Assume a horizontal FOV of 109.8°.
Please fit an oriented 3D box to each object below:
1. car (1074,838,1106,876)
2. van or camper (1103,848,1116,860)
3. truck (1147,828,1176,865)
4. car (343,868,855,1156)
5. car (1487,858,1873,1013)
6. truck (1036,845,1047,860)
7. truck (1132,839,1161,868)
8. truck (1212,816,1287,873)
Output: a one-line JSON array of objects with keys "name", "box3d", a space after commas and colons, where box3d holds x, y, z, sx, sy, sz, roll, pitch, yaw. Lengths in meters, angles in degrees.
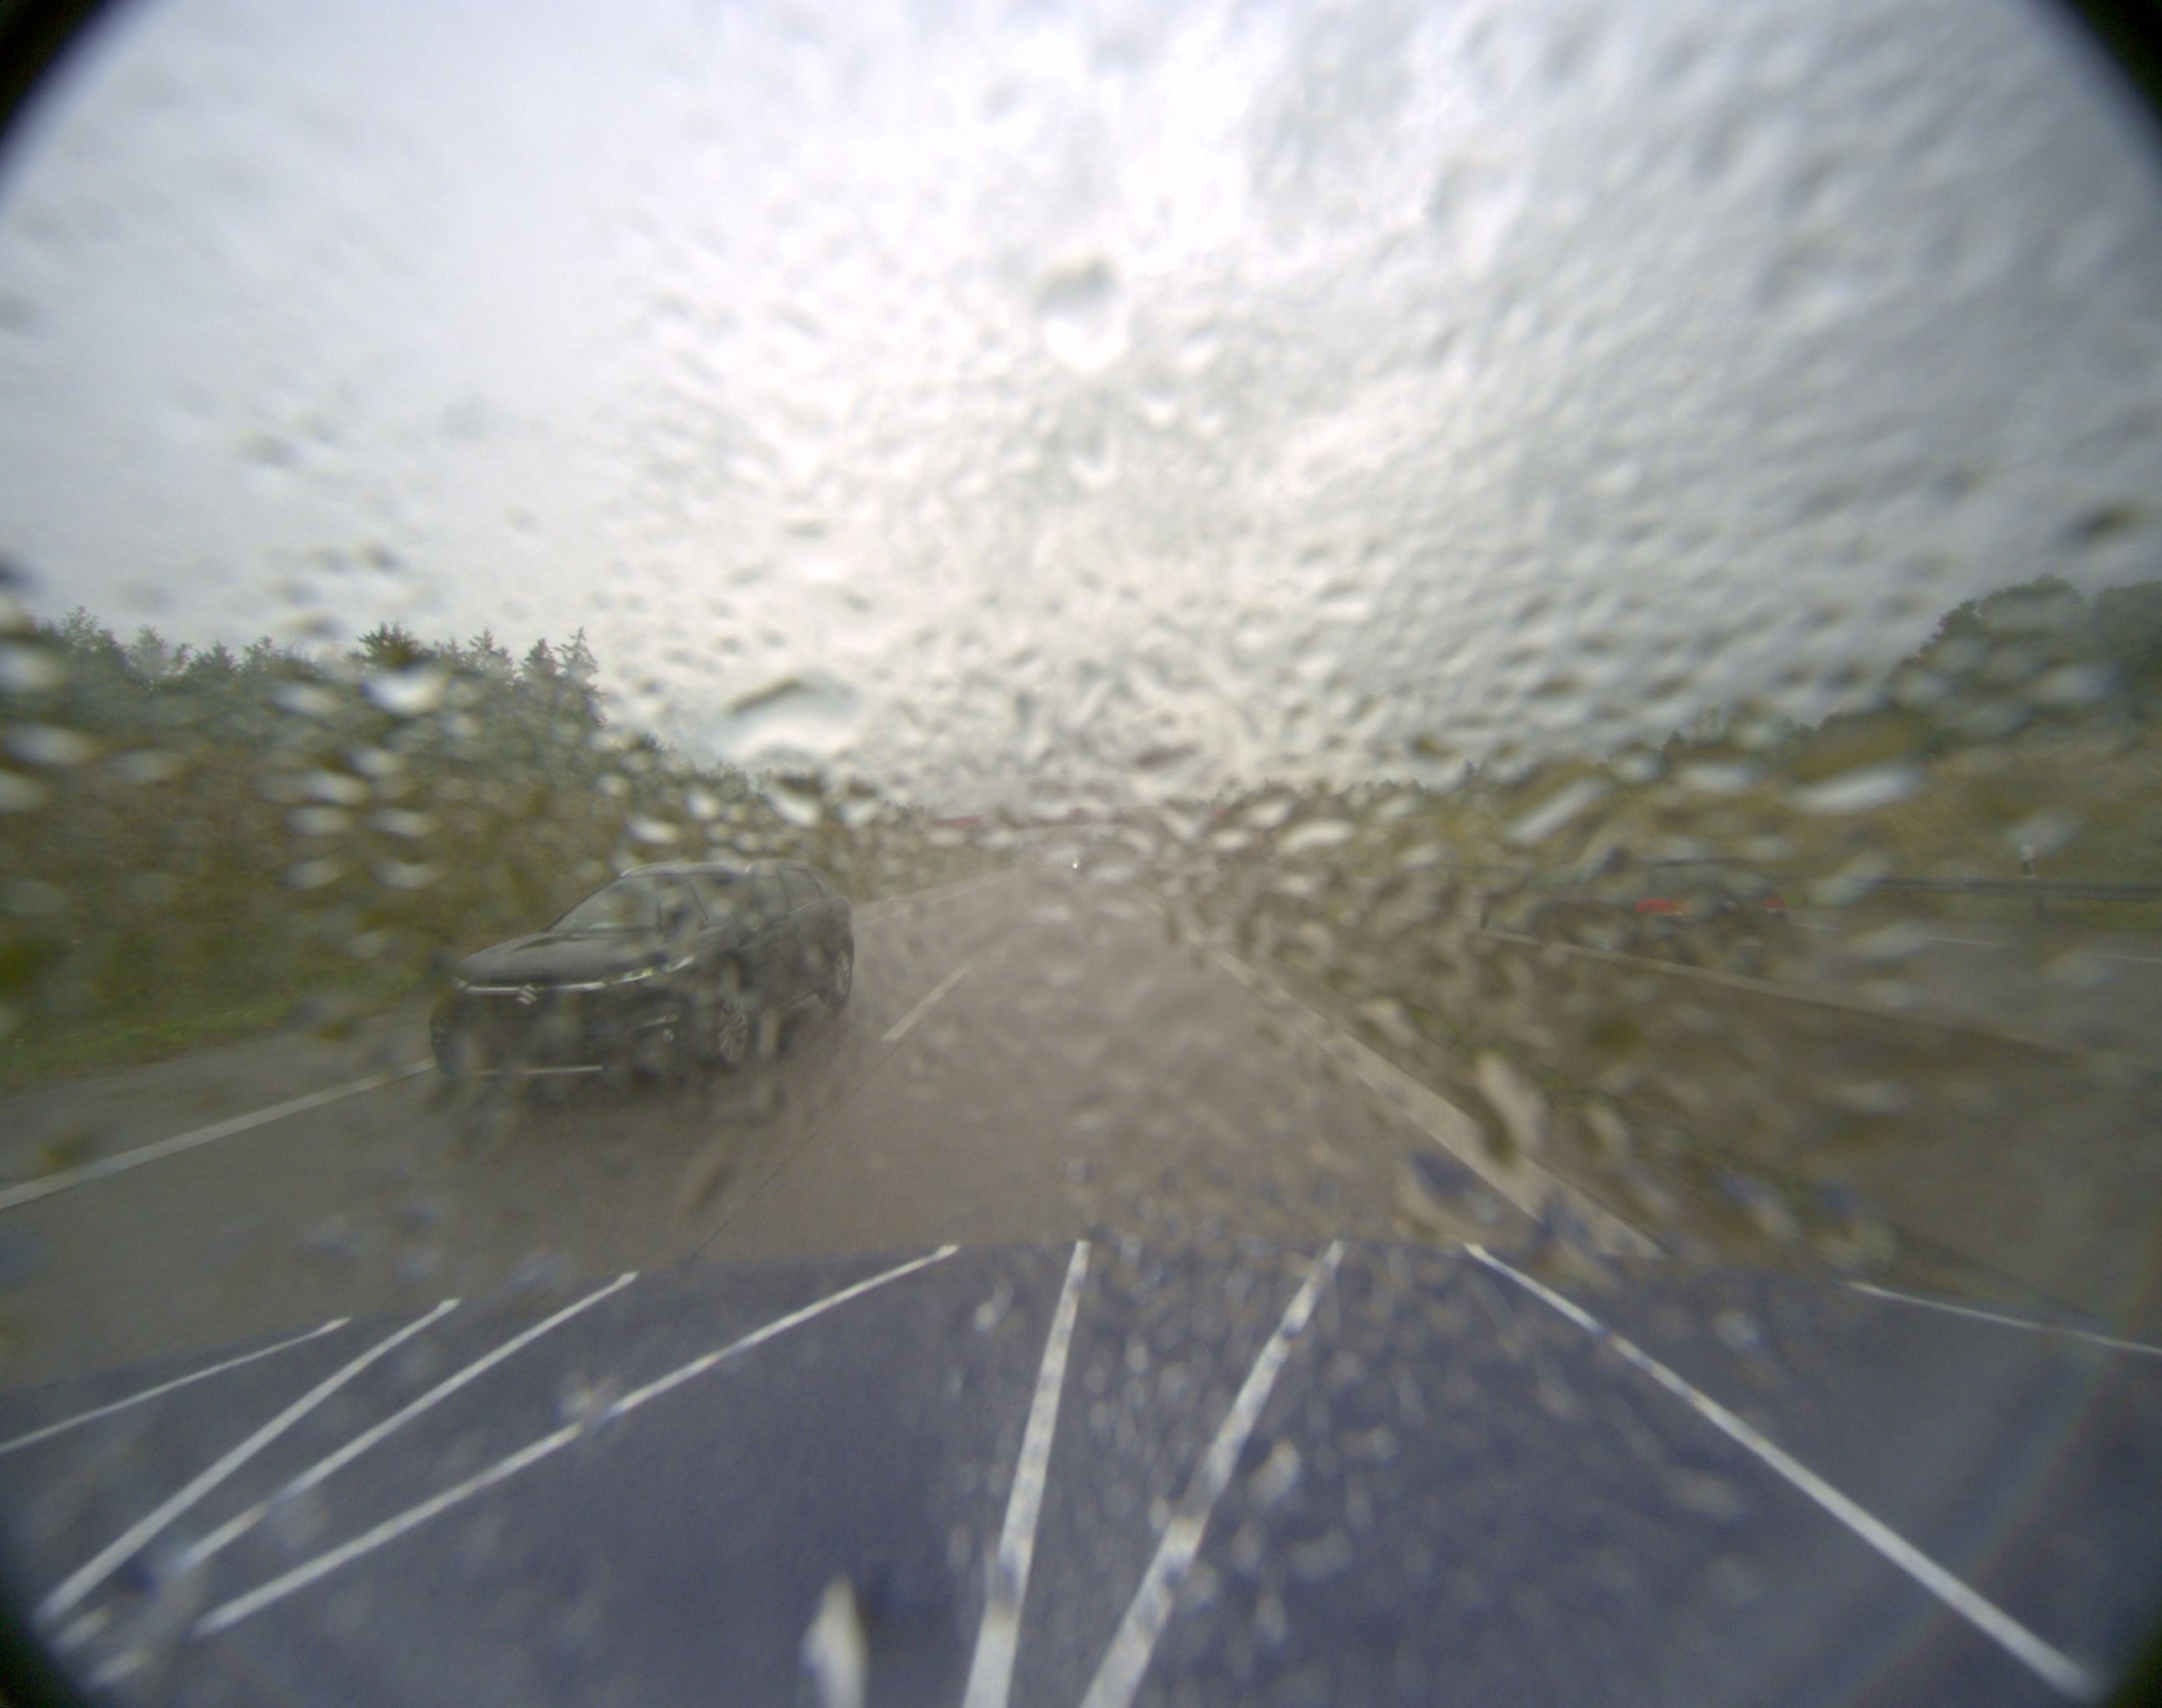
[{"name": "car", "box3d": [0.512, 0.243, 45.045, 1.795, 2.113, 4.526, 0, -2, 0]}, {"name": "van or camper", "box3d": [6.559, 0.079, 178.612, 2.450, 2.579, 7.928, -3, -1, -1]}, {"name": "truck", "box3d": [10.274, -0.984, 97.836, 2.828, 4.494, 6.624, -2, 1, 0]}, {"name": "car", "box3d": [-3.377, 0.964, 6.295, 1.899, 1.567, 3.631, -2, 0, -1]}, {"name": "car", "box3d": [6.926, 0.808, 9.439, 1.665, 1.477, 4.000, 0, 0, 1]}, {"name": "truck", "box3d": [-11.508, -0.412, 221.018, 2.768, 4.062, 5.434, 1, -2, -9]}, {"name": "truck", "box3d": [6.569, -0.053, 77.146, 2.338, 2.766, 6.160, -1, 0, 0]}, {"name": "truck", "box3d": [11.295, -0.641, 51.927, 3.176, 3.512, 8.364, -1, 0, 0]}]
